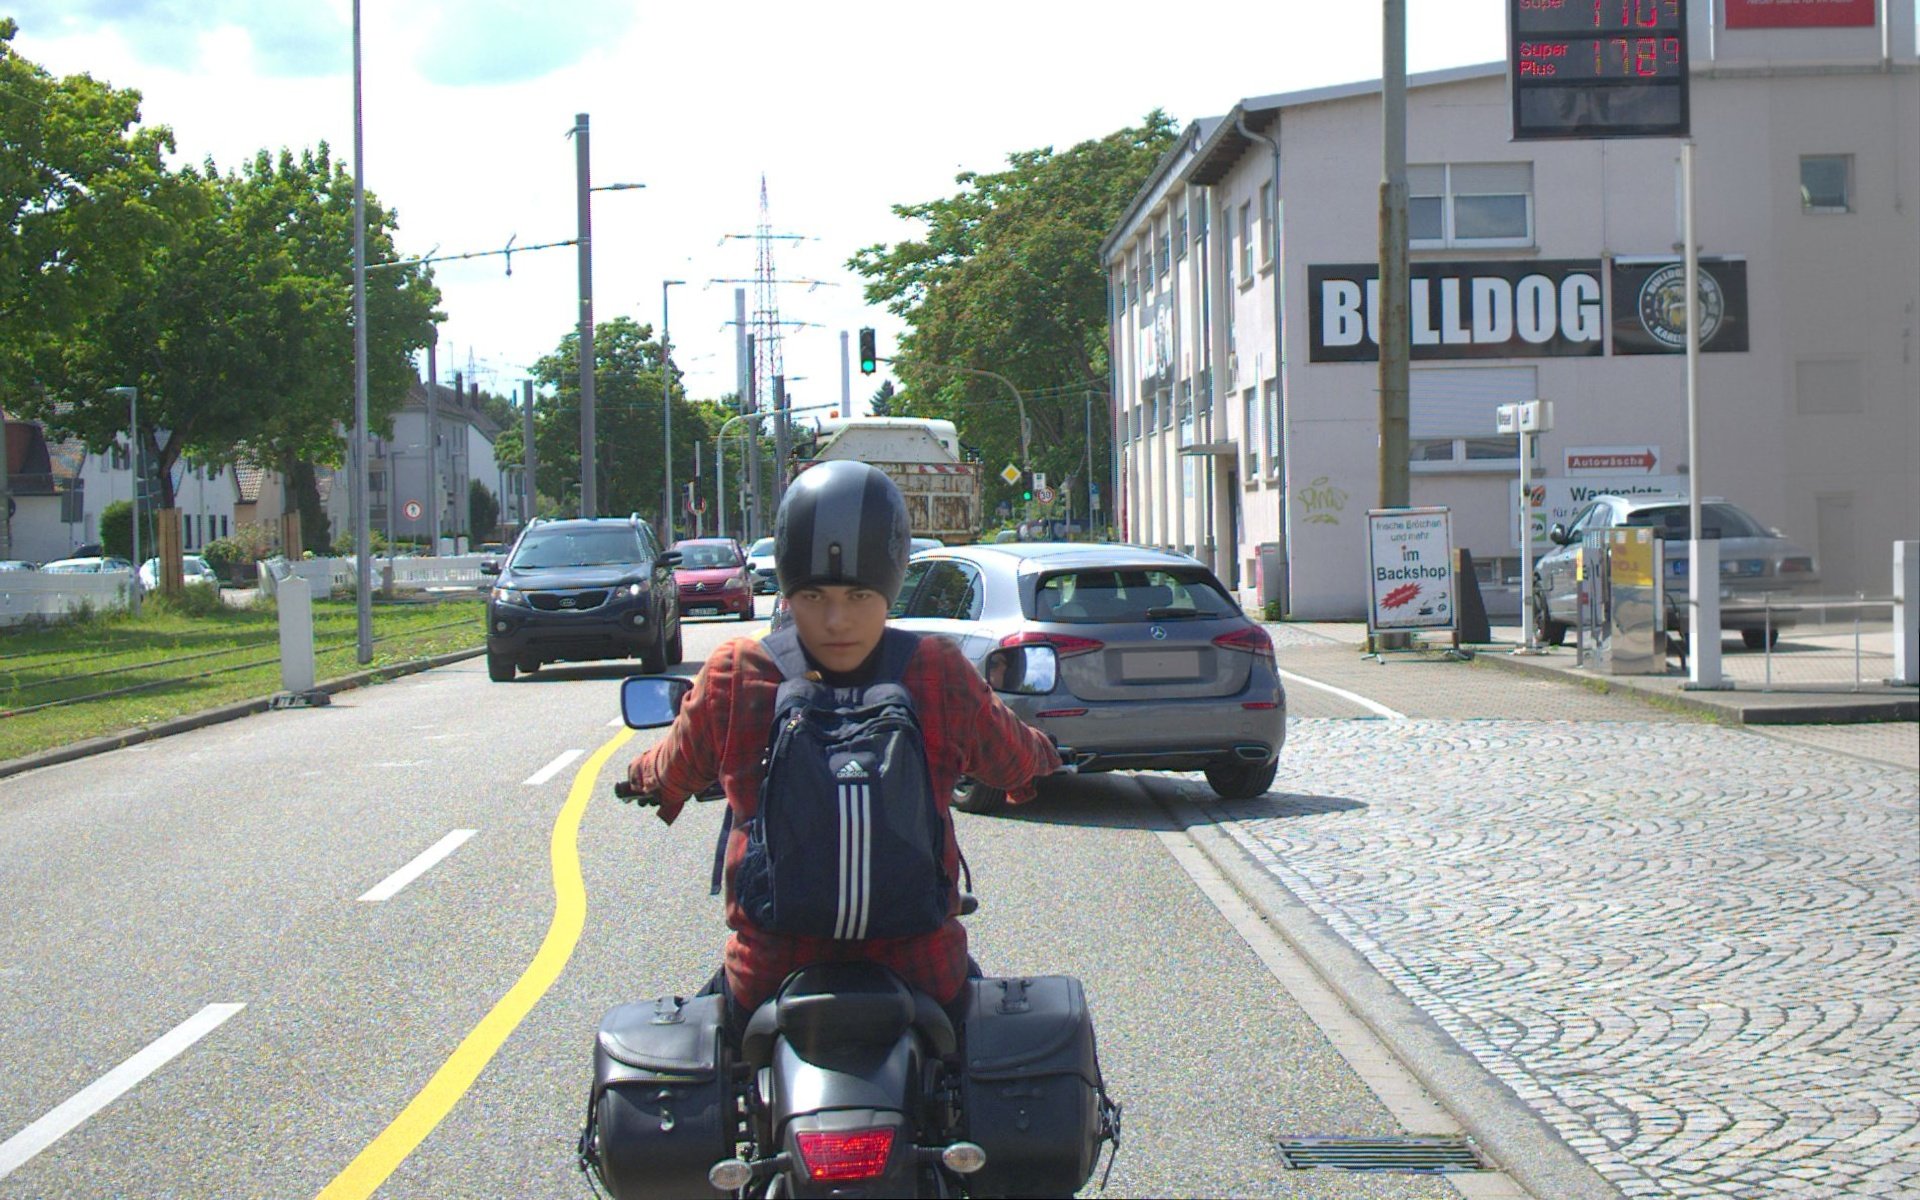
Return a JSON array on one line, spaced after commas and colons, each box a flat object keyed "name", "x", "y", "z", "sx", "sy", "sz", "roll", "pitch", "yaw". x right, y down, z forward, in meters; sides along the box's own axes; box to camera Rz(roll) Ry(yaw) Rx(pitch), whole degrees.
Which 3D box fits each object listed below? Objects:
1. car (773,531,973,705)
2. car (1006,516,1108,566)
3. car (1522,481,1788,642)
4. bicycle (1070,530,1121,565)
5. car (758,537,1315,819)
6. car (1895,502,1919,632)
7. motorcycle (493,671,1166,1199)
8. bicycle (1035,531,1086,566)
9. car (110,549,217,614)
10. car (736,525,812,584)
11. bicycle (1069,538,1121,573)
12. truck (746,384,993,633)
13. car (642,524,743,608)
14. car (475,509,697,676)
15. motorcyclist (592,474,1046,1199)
[{"name": "car", "x": -0.735, "y": 0.115, "z": 31.174, "sx": 1.644, "sy": 1.439, "sz": 3.748, "roll": 1, "pitch": 1, "yaw": 1}, {"name": "car", "x": 3.857, "y": -2.348, "z": 136.482, "sx": 1.802, "sy": 1.919, "sz": 3.989, "roll": 1, "pitch": 1, "yaw": 45}, {"name": "car", "x": 7.383, "y": -0.434, "z": 36.949, "sx": 1.945, "sy": 1.619, "sz": 4.616, "roll": 0, "pitch": 1, "yaw": 0}, {"name": "bicycle", "x": 4.634, "y": -1.796, "z": 117.183, "sx": 1.708, "sy": 1.168, "sz": 0.438, "roll": 1, "pitch": 0, "yaw": 5}, {"name": "car", "x": 0.308, "y": 0.374, "z": 19.704, "sx": 1.731, "sy": 1.399, "sz": 4.088, "roll": 1, "pitch": 1, "yaw": -21}, {"name": "car", "x": 11.777, "y": -0.391, "z": 37.481, "sx": 1.691, "sy": 1.466, "sz": 4.424, "roll": -2, "pitch": 1, "yaw": -3}, {"name": "motorcycle", "x": -0.203, "y": 0.784, "z": 6.109, "sx": 0.942, "sy": 1.196, "sz": 2.473, "roll": 1, "pitch": 1, "yaw": -1}, {"name": "bicycle", "x": 3.444, "y": -1.769, "z": 117.757, "sx": 1.708, "sy": 1.168, "sz": 0.438, "roll": 1, "pitch": 0, "yaw": 5}, {"name": "car", "x": -17.387, "y": -0.411, "z": 75.173, "sx": 1.521, "sy": 1.349, "sz": 3.621, "roll": 1, "pitch": 1, "yaw": -1}, {"name": "car", "x": -4.849, "y": -1.184, "z": 90.054, "sx": 1.821, "sy": 1.440, "sz": 4.484, "roll": -2, "pitch": 1, "yaw": -2}, {"name": "bicycle", "x": 4.577, "y": -1.502, "z": 116.676, "sx": 1.708, "sy": 1.168, "sz": 0.438, "roll": 1, "pitch": 0, "yaw": 5}, {"name": "truck", "x": -1.134, "y": -1.219, "z": 48.202, "sx": 2.967, "sy": 3.162, "sz": 7.763, "roll": 1, "pitch": 1, "yaw": 2}, {"name": "car", "x": -4.838, "y": -0.616, "z": 62.623, "sx": 1.578, "sy": 1.464, "sz": 3.720, "roll": 1, "pitch": 1, "yaw": -1}, {"name": "car", "x": -4.022, "y": -0.097, "z": 37.611, "sx": 1.796, "sy": 1.684, "sz": 4.221, "roll": -1, "pitch": 1, "yaw": 2}, {"name": "motorcyclist", "x": -0.229, "y": 0.602, "z": 5.747, "sx": 0.698, "sy": 1.599, "sz": 0.692, "roll": 1, "pitch": 0, "yaw": -1}]
